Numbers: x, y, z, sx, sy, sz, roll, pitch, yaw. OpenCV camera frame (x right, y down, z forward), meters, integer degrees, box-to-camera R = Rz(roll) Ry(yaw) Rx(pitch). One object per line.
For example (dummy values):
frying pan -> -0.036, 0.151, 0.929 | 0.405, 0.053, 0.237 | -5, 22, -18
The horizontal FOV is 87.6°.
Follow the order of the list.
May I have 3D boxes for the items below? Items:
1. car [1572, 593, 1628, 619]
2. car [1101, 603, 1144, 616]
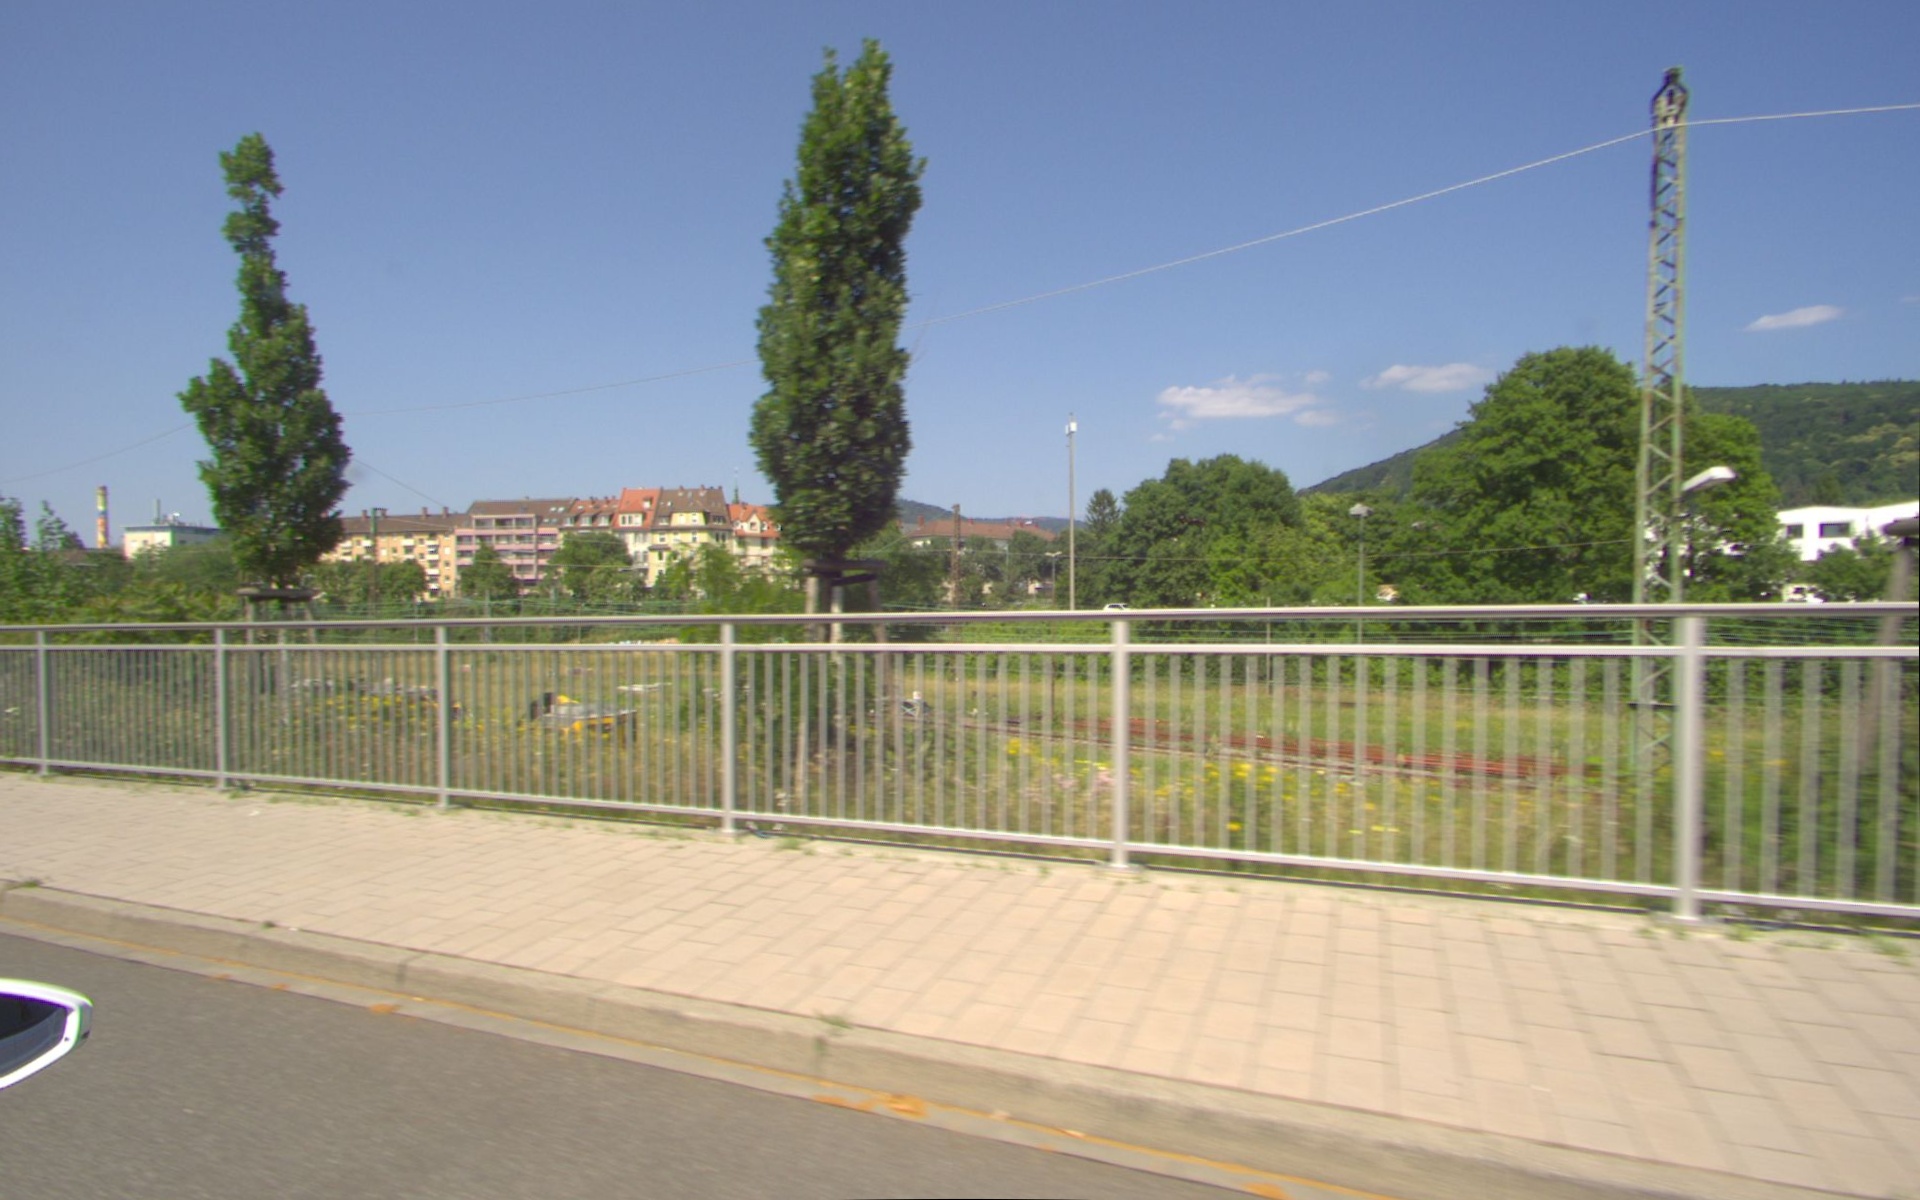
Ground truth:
car -> 55.847, 0.544, 87.451 | 3.890, 2.038, 1.743 | -3, -5, 41
car -> 16.891, 1.001, 104.207 | 1.843, 1.385, 4.283 | -1, 0, -37
